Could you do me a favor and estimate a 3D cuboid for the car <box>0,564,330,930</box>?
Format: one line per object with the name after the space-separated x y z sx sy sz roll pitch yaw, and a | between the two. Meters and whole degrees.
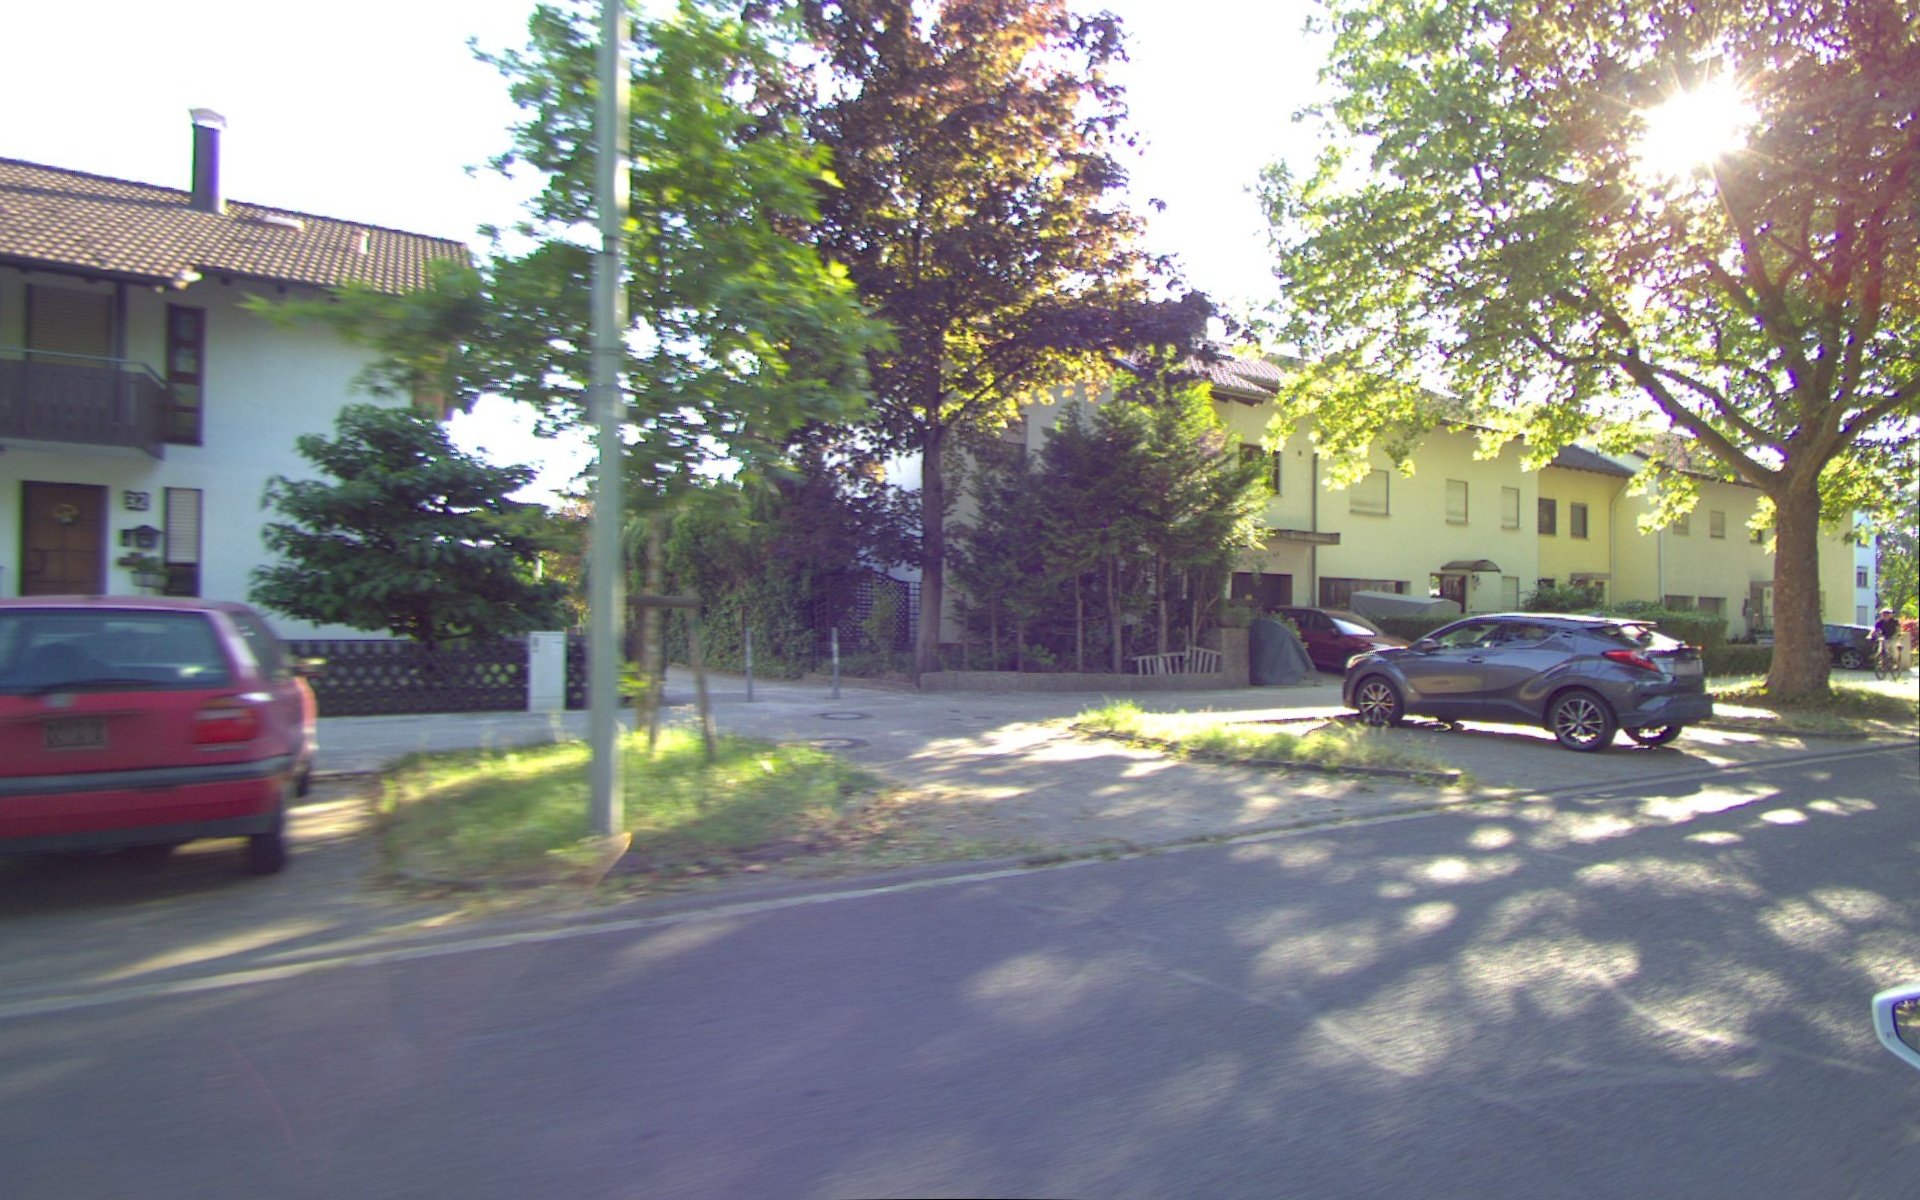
-4.791 0.616 6.021 1.647 1.538 3.848 1 0 -33 | car

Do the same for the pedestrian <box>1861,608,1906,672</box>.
25.591 1.109 27.834 1.052 1.739 0.614 2 -1 -29 | pedestrian

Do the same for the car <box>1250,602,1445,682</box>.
9.165 0.946 24.077 1.976 1.497 3.969 1 3 -29 | car

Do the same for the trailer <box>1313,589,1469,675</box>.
11.284 0.768 26.507 1.623 1.952 3.436 0 4 -30 | trailer

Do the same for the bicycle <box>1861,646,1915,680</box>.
25.711 1.736 27.832 2.130 0.892 0.468 2 -1 -29 | bicycle

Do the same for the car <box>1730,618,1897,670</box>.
29.557 1.486 34.913 1.877 1.483 3.971 2 1 -28 | car

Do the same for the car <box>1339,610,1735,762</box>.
7.032 0.935 12.658 1.796 1.538 3.968 1 0 -31 | car
